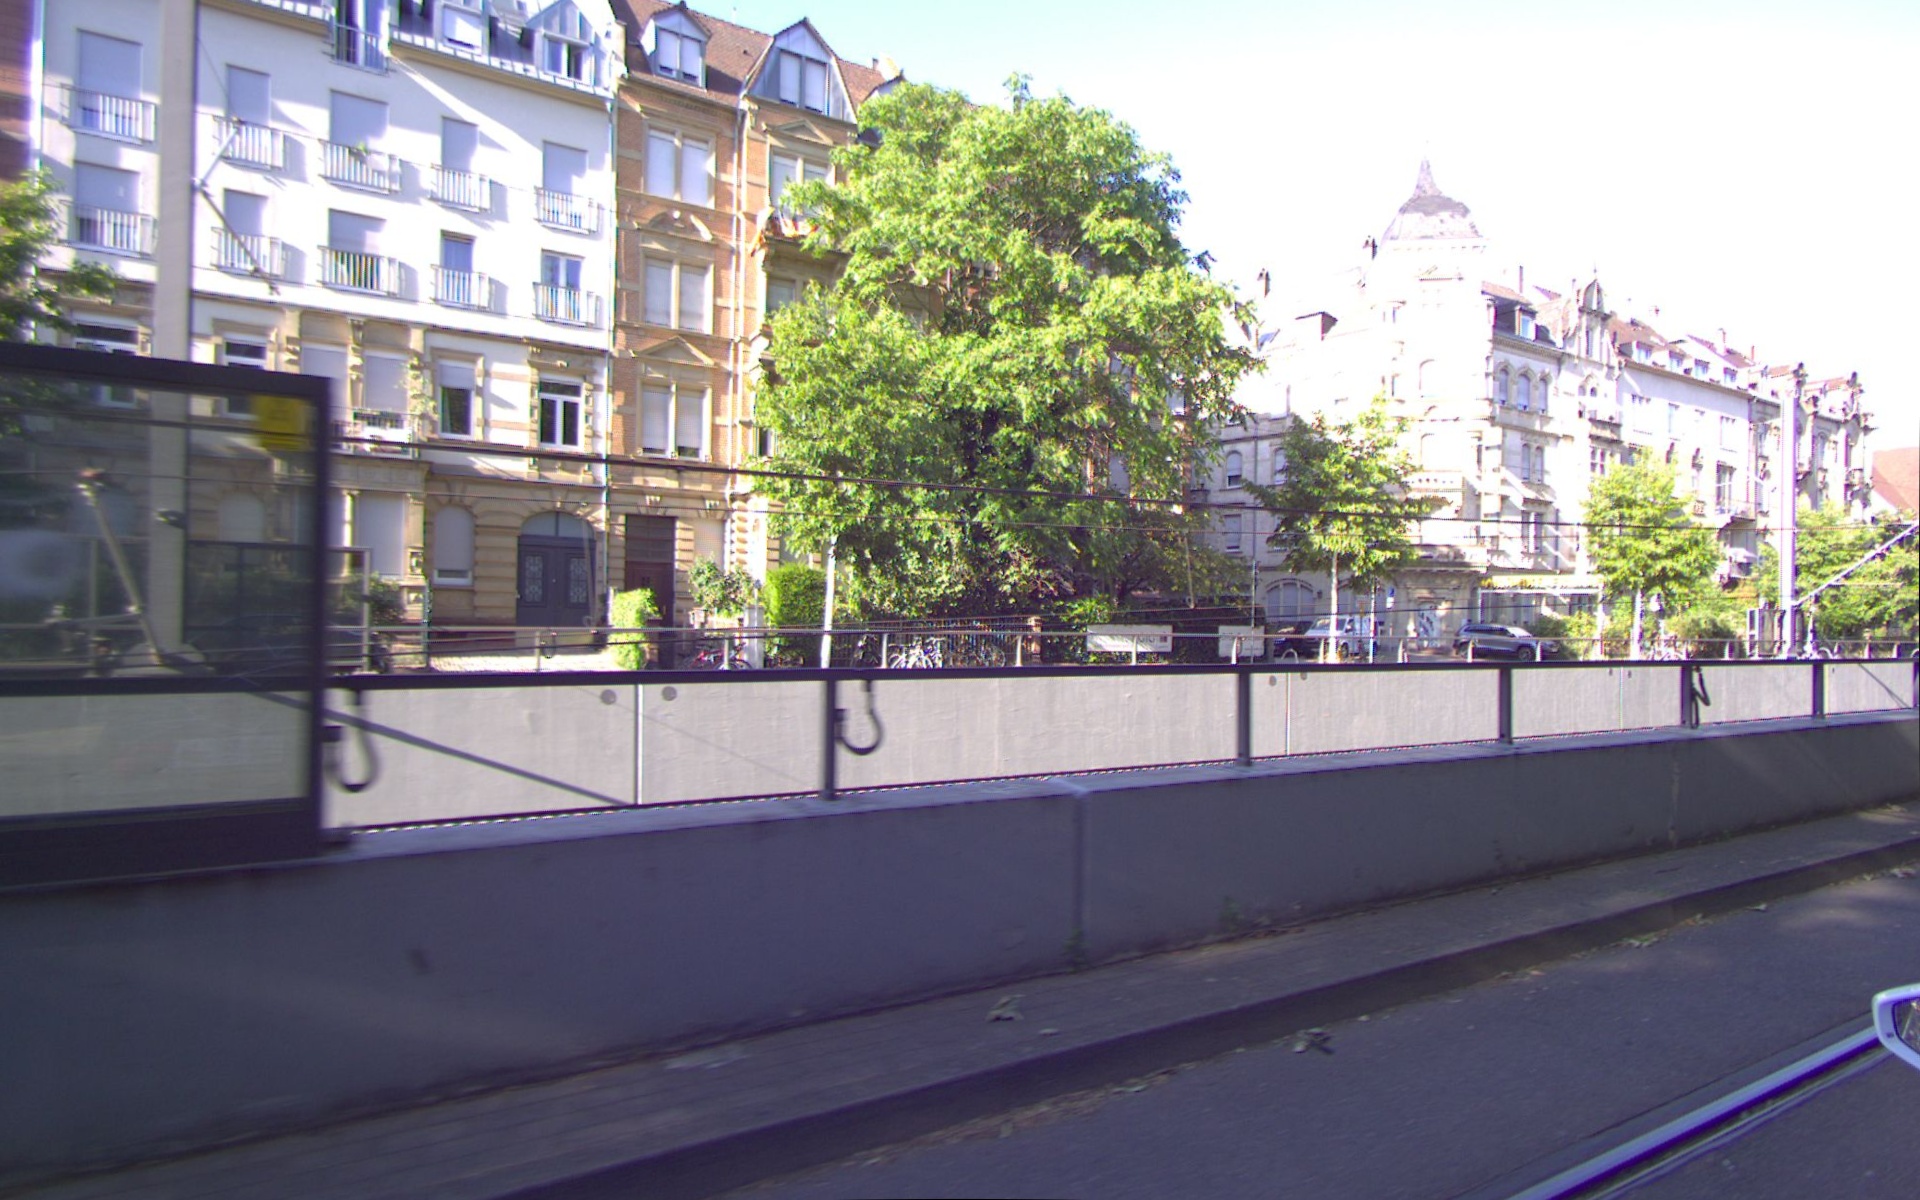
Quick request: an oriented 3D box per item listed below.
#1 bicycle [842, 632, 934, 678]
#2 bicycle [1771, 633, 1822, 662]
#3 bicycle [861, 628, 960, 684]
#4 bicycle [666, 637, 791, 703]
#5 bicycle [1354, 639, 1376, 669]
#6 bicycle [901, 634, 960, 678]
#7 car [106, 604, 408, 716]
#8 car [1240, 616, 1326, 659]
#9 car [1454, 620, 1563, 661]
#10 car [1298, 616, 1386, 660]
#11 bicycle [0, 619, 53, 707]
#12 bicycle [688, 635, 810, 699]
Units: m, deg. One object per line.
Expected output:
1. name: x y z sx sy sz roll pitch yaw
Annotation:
1. bicycle: -1.834 1.389 25.769 2.348 1.113 0.552 1 2 -31
2. bicycle: 39.051 2.199 46.910 0.591 1.296 1.726 1 -1 -23
3. bicycle: -1.171 1.268 23.207 2.333 1.113 0.556 3 2 30
4. bicycle: -4.771 1.399 20.589 2.736 1.113 0.642 3 2 28
5. bicycle: 14.686 1.972 36.402 0.447 1.018 1.942 3 -2 29
6. bicycle: -0.696 1.313 23.602 1.246 0.917 0.538 3 2 30
7. car: -11.573 0.938 16.860 3.956 1.606 1.822 1 2 -32
8. car: 15.749 1.787 48.823 4.447 1.874 1.975 1 2 -42
9. car: 24.962 1.815 45.801 1.809 1.646 3.956 1 1 -38
10. car: 17.932 1.728 47.093 4.447 1.874 1.975 1 2 -42
11. bicycle: -14.707 0.944 15.524 0.555 1.194 1.801 1 2 -27
12. bicycle: -4.487 1.394 21.223 2.736 1.113 0.642 3 2 28
